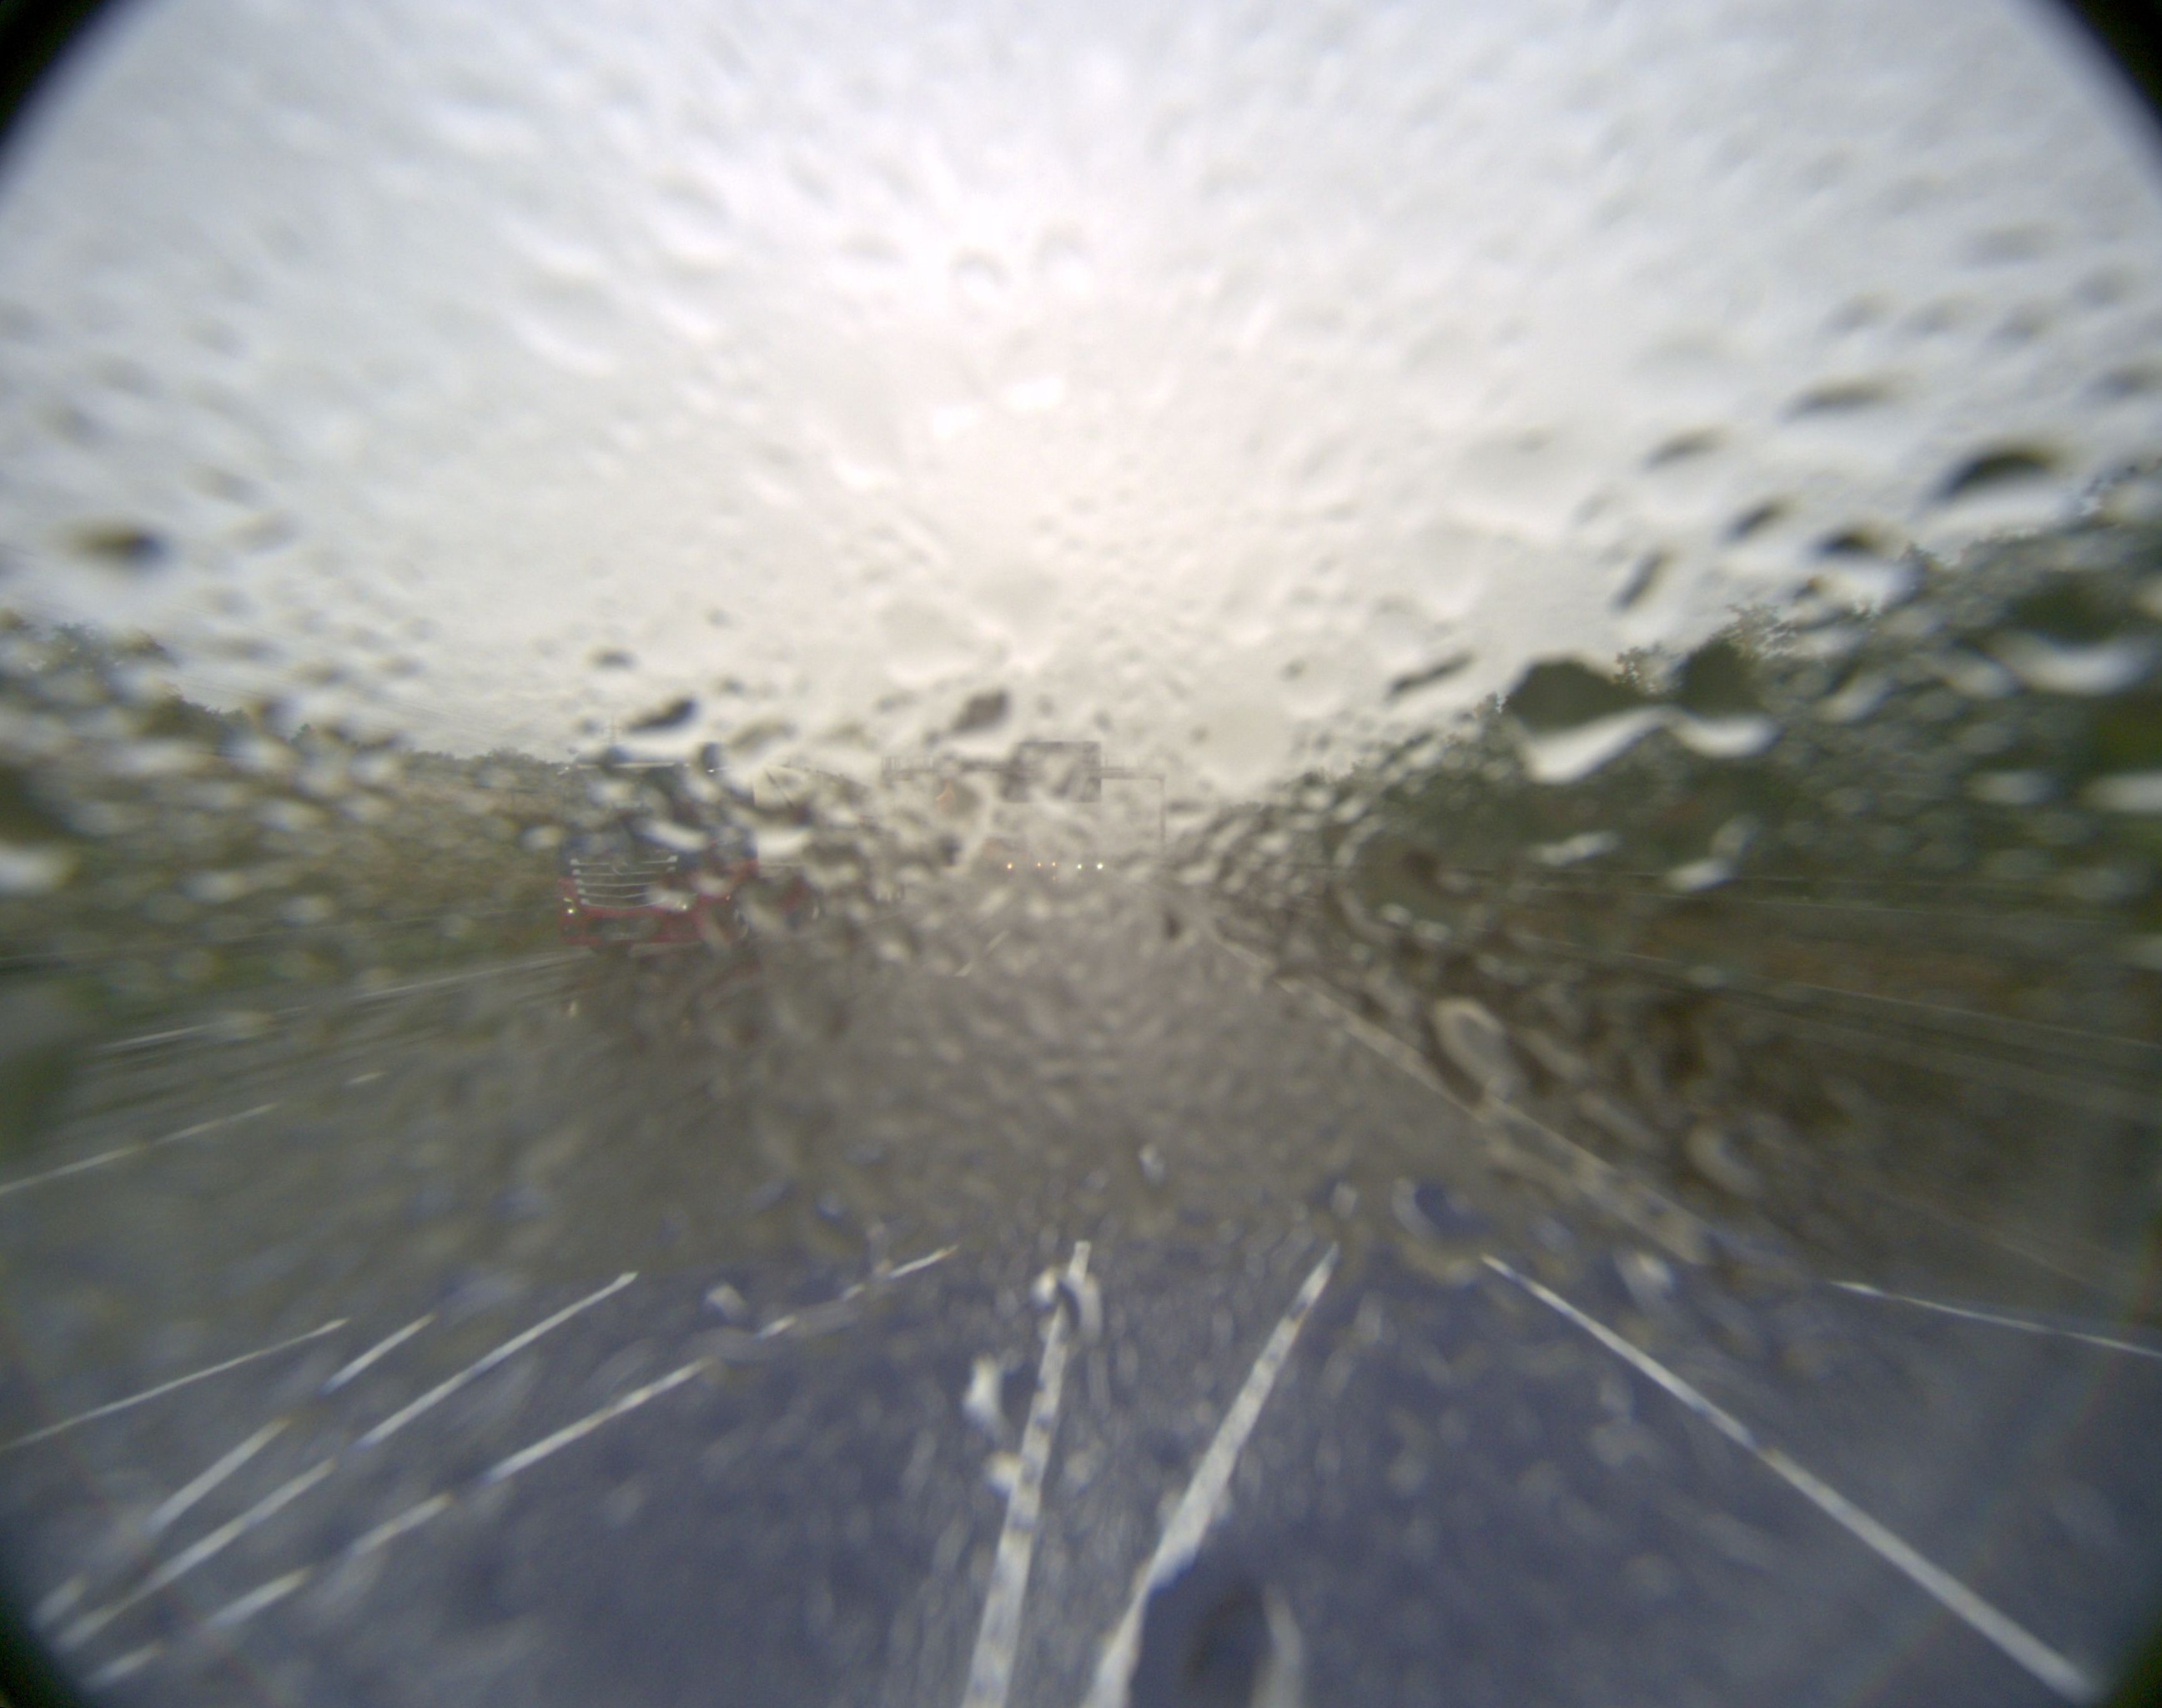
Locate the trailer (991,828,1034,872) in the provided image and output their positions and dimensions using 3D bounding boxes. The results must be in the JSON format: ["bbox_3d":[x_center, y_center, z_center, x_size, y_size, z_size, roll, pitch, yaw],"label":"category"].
[{"bbox_3d":[-6.538,-0.259,75.221,2.486,3.743,16.546,-2,-1,1],"label":"trailer"}]

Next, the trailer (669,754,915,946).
[{"bbox_3d":[-7.166,-0.020,21.212,2.503,3.859,11.067,-2,-1,0],"label":"trailer"}]

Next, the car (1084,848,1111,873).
[{"bbox_3d":[1.157,0.452,55.048,1.845,1.670,4.000,-2,-1,0],"label":"car"}]

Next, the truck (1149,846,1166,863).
[{"bbox_3d":[21.414,0.285,214.096,2.973,4.647,17.100,-2,-1,0],"label":"truck"}]

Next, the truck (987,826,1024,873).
[{"bbox_3d":[-6.646,-0.345,67.501,2.457,3.866,6.200,-2,-1,1],"label":"truck"}]

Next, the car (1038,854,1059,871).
[{"bbox_3d":[-2.993,0.762,70.054,1.663,1.491,3.837,-2,-1,1],"label":"car"}]

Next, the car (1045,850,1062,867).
[{"bbox_3d":[-2.754,0.487,75.745,1.517,1.606,3.186,-2,-1,0],"label":"car"}]

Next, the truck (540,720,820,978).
[{"bbox_3d":[-7.179,-0.050,14.497,2.503,3.960,5.076,-2,0,0],"label":"truck"}]
